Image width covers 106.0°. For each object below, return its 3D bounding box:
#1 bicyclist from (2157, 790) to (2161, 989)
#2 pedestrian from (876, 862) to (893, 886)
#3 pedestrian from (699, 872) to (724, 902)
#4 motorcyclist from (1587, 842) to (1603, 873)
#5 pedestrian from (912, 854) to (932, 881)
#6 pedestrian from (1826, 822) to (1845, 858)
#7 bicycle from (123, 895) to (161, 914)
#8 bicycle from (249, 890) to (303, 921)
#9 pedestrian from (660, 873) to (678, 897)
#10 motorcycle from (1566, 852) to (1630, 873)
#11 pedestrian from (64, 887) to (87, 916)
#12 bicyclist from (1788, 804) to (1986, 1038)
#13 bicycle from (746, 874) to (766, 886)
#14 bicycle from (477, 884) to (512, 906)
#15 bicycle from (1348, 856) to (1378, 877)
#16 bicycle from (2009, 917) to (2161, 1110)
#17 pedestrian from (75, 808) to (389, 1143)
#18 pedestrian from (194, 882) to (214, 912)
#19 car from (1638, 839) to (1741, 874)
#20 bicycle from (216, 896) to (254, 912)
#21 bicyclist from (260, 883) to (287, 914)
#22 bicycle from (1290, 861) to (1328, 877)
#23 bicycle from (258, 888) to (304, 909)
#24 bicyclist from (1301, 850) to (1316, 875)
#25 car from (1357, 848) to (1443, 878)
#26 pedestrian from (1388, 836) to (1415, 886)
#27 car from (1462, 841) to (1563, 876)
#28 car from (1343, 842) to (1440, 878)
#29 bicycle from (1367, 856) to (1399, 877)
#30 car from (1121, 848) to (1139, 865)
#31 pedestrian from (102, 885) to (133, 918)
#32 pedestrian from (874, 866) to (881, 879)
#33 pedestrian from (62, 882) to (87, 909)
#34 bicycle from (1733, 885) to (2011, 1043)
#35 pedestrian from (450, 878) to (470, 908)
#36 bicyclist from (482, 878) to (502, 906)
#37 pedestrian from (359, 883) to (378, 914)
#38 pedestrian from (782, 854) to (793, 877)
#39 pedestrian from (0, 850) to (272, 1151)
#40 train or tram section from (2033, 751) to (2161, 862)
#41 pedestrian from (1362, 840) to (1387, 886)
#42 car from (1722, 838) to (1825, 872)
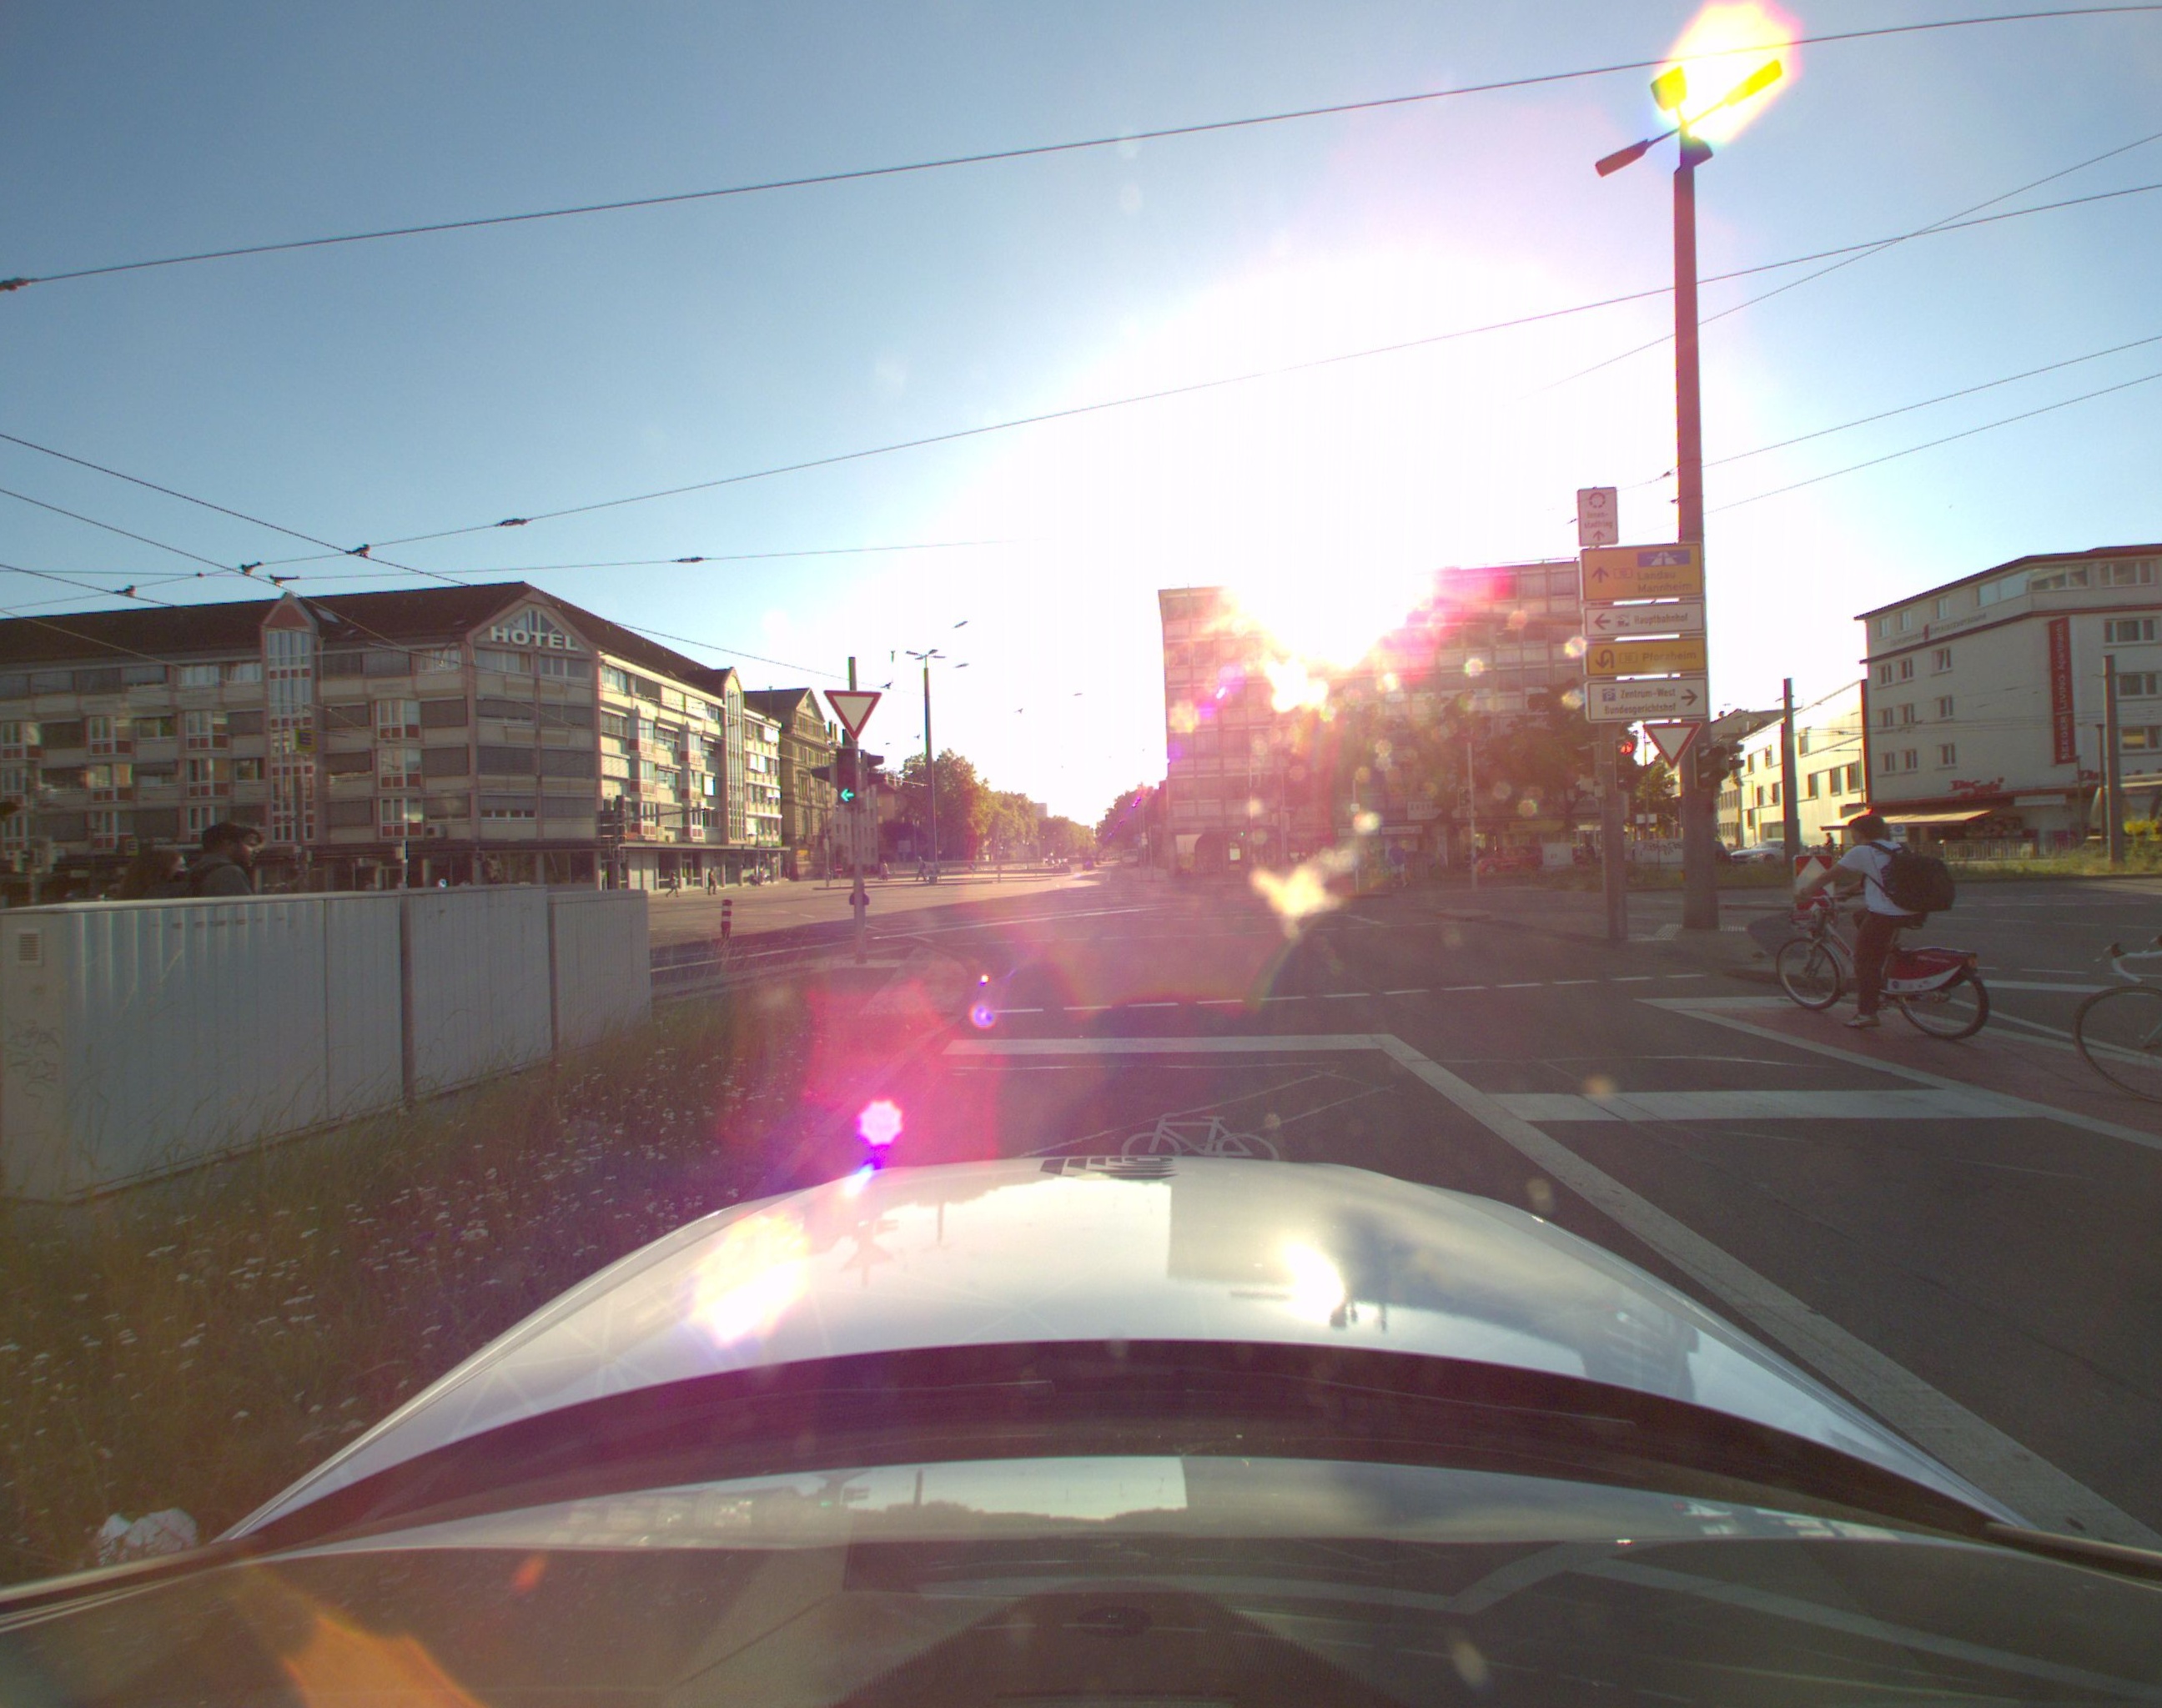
[{"bbox_3d":[6.166,0.522,4.030,0.612,1.746,0.791,0,-1,-3],"label":"bicyclist"},{"bbox_3d":[-12.584,1.302,52.155,0.858,1.465,0.680,0,-6,-27],"label":"pedestrian"},{"bbox_3d":[-24.321,2.188,53.575,1.191,1.883,0.856,0,5,-3],"label":"pedestrian"},{"bbox_3d":[24.824,0.165,39.345,0.458,1.509,0.536,0,-1,7],"label":"motorcyclist"},{"bbox_3d":[-10.649,0.896,54.585,1.191,1.731,0.855,0,-1,-3],"label":"pedestrian"},{"bbox_3d":[42.386,-0.772,45.774,0.619,2.014,0.719,-1,-1,30],"label":"pedestrian"},{"bbox_3d":[-60.183,3.251,52.217,0.481,1.119,1.650,0,-1,2],"label":"bicycle"},{"bbox_3d":[-40.339,2.583,40.828,0.580,1.366,2.095,-1,1,0],"label":"bicycle"},{"bbox_3d":[-25.533,1.904,50.455,0.703,1.453,0.855,0,-1,-3],"label":"pedestrian"},{"bbox_3d":[24.958,0.418,39.326,2.648,1.001,0.536,0,-1,6],"label":"motorcycle"},{"bbox_3d":[-64.758,3.038,52.438,0.671,1.778,0.825,-1,-1,32],"label":"pedestrian"},{"bbox_3d":[6.590,0.509,6.726,0.540,1.768,1.059,0,-1,-3],"label":"bicyclist"},{"bbox_3d":[-29.655,2.366,74.401,0.447,1.071,2.102,-1,-1,19],"label":"bicycle"},{"bbox_3d":[-34.831,2.447,48.369,0.635,1.145,1.773,0,2,6],"label":"bicycle"},{"bbox_3d":[16.990,0.718,49.075,0.748,1.143,2.637,0,2,-4],"label":"bicycle"},{"bbox_3d":[6.189,0.899,4.327,0.540,1.001,1.692,0,-1,-3],"label":"bicycle"},{"bbox_3d":[-4.955,0.639,4.839,0.781,1.800,0.902,0,4,6],"label":"pedestrian"},{"bbox_3d":[-56.226,2.753,52.213,0.598,1.852,0.613,-1,-1,12],"label":"pedestrian"},{"bbox_3d":[29.393,0.114,39.360,3.991,1.618,1.836,0,-1,-13],"label":"car"},{"bbox_3d":[-52.460,3.079,50.510,2.060,0.917,0.502,-2,-1,7],"label":"bicycle"},{"bbox_3d":[-40.348,2.215,40.717,0.563,1.481,0.738,-1,1,0],"label":"bicyclist"},{"bbox_3d":[13.439,0.870,48.055,2.017,0.940,0.671,0,-1,0],"label":"bicycle"},{"bbox_3d":[-49.461,2.734,50.336,2.312,1.227,0.731,-2,-1,7],"label":"bicycle"},{"bbox_3d":[13.417,0.503,48.055,0.677,1.424,0.671,0,-1,1],"label":"bicyclist"},{"bbox_3d":[17.311,0.490,44.350,4.046,1.618,1.847,0,-1,6],"label":"car"},{"bbox_3d":[11.758,0.251,29.887,0.691,1.793,1.044,-1,-1,8],"label":"pedestrian"},{"bbox_3d":[20.933,0.230,39.617,3.966,1.618,1.847,0,-1,6],"label":"car"},{"bbox_3d":[14.737,0.297,38.843,3.966,1.618,1.847,0,-1,6],"label":"car"},{"bbox_3d":[18.183,0.718,49.092,0.748,1.143,2.637,0,2,-4],"label":"bicycle"},{"bbox_3d":[6.311,0.323,103.961,2.275,2.172,4.838,0,-1,4],"label":"car"},{"bbox_3d":[-50.106,2.481,42.357,0.680,1.660,0.780,0,-1,-4],"label":"pedestrian"},{"bbox_3d":[-27.397,2.503,109.796,0.693,1.695,0.724,0,-1,1],"label":"pedestrian"},{"bbox_3d":[-62.747,2.571,50.774,0.545,1.644,0.755,-1,1,11],"label":"pedestrian"},{"bbox_3d":[6.570,0.845,6.922,0.540,1.101,1.807,0,-1,-3],"label":"bicycle"},{"bbox_3d":[-36.526,2.284,47.913,0.717,1.662,0.629,-2,-1,-22],"label":"pedestrian"},{"bbox_3d":[-34.843,2.225,48.210,0.636,1.596,0.659,0,2,5],"label":"bicyclist"},{"bbox_3d":[-39.436,2.448,45.056,0.625,1.694,0.859,0,-1,-30],"label":"pedestrian"},{"bbox_3d":[-31.193,1.200,86.543,0.926,2.398,0.958,0,-1,-9],"label":"pedestrian"},{"bbox_3d":[-5.779,0.806,4.960,0.780,1.640,0.902,-1,-1,10],"label":"pedestrian"},{"bbox_3d":[43.703,-1.845,29.499,13.257,3.833,3.719,-2,-1,4],"label":"train or tram section"},{"bbox_3d":[10.903,0.326,30.252,0.691,1.682,1.044,-1,-1,9],"label":"pedestrian"},{"bbox_3d":[34.539,0.058,40.647,3.988,1.618,1.837,0,-1,-11],"label":"car"}]
